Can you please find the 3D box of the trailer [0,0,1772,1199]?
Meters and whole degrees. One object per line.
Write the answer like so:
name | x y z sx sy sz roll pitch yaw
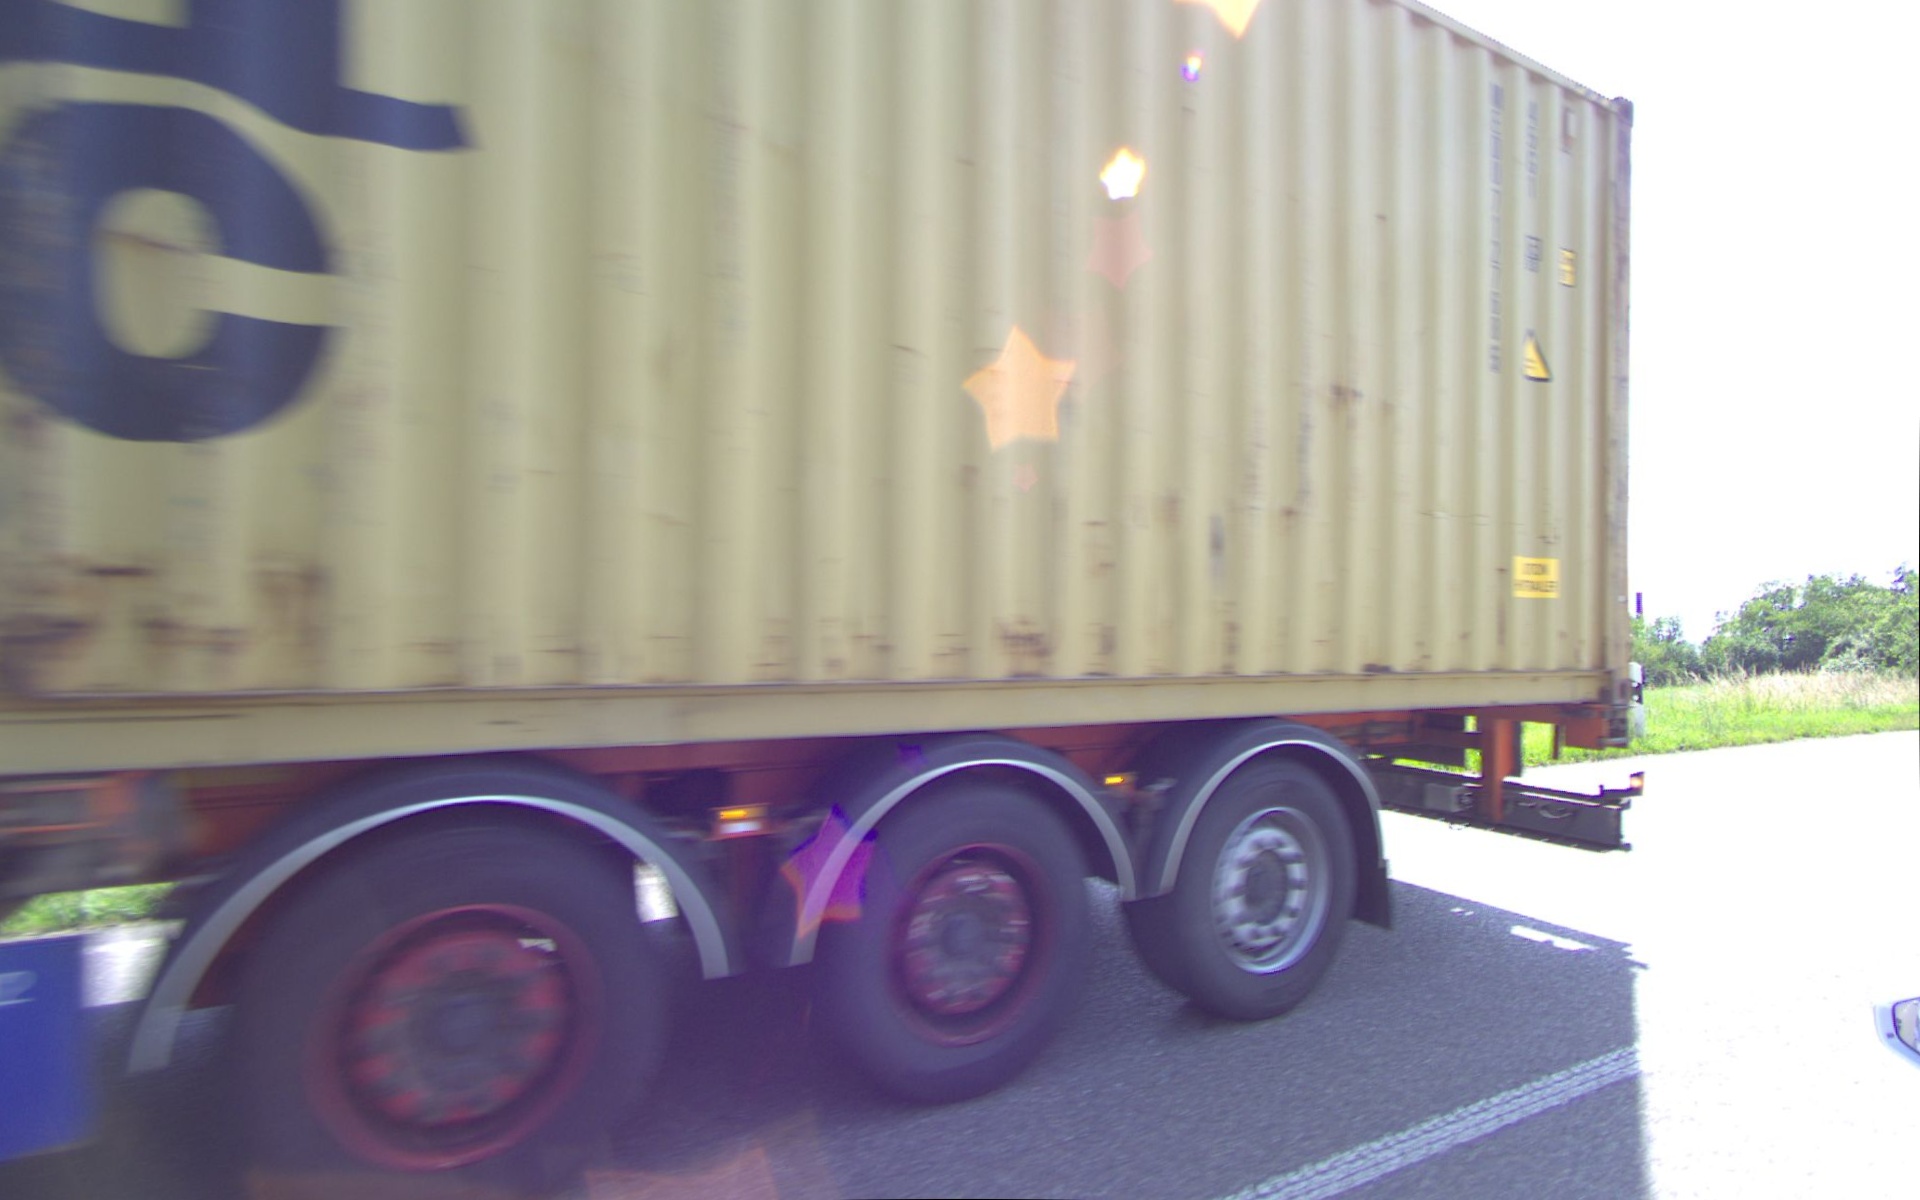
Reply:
trailer | -2.001 -0.643 3.388 12.762 4.097 2.983 1 -1 -30
